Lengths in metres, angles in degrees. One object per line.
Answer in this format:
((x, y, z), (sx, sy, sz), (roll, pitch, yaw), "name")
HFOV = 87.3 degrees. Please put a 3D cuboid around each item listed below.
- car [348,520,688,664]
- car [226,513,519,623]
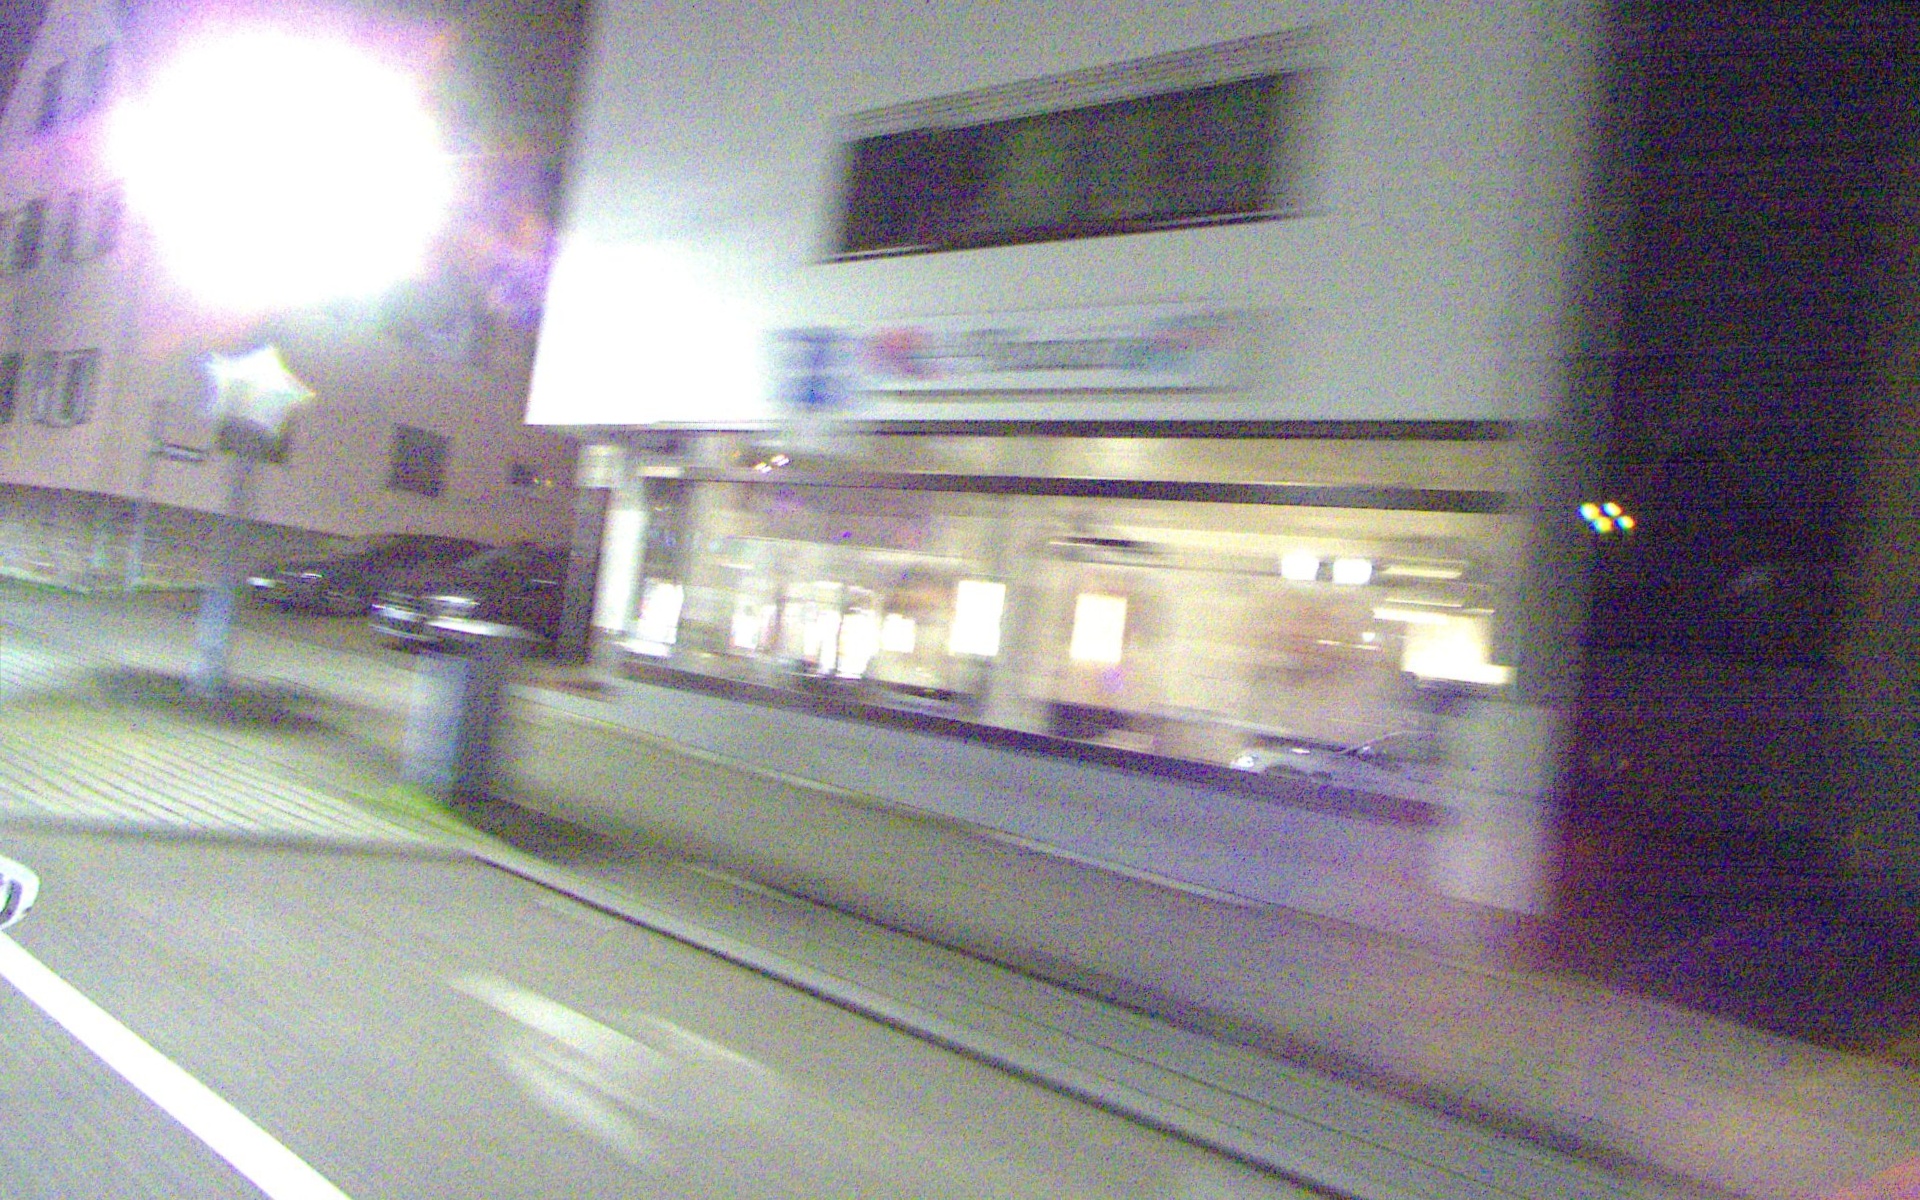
((-6.044, -0.047, 14.268), (1.785, 1.602, 4.082), (8, 1, 28), "car")
((-9.969, -0.485, 17.391), (1.722, 1.495, 3.992), (6, 0, 29), "car")
